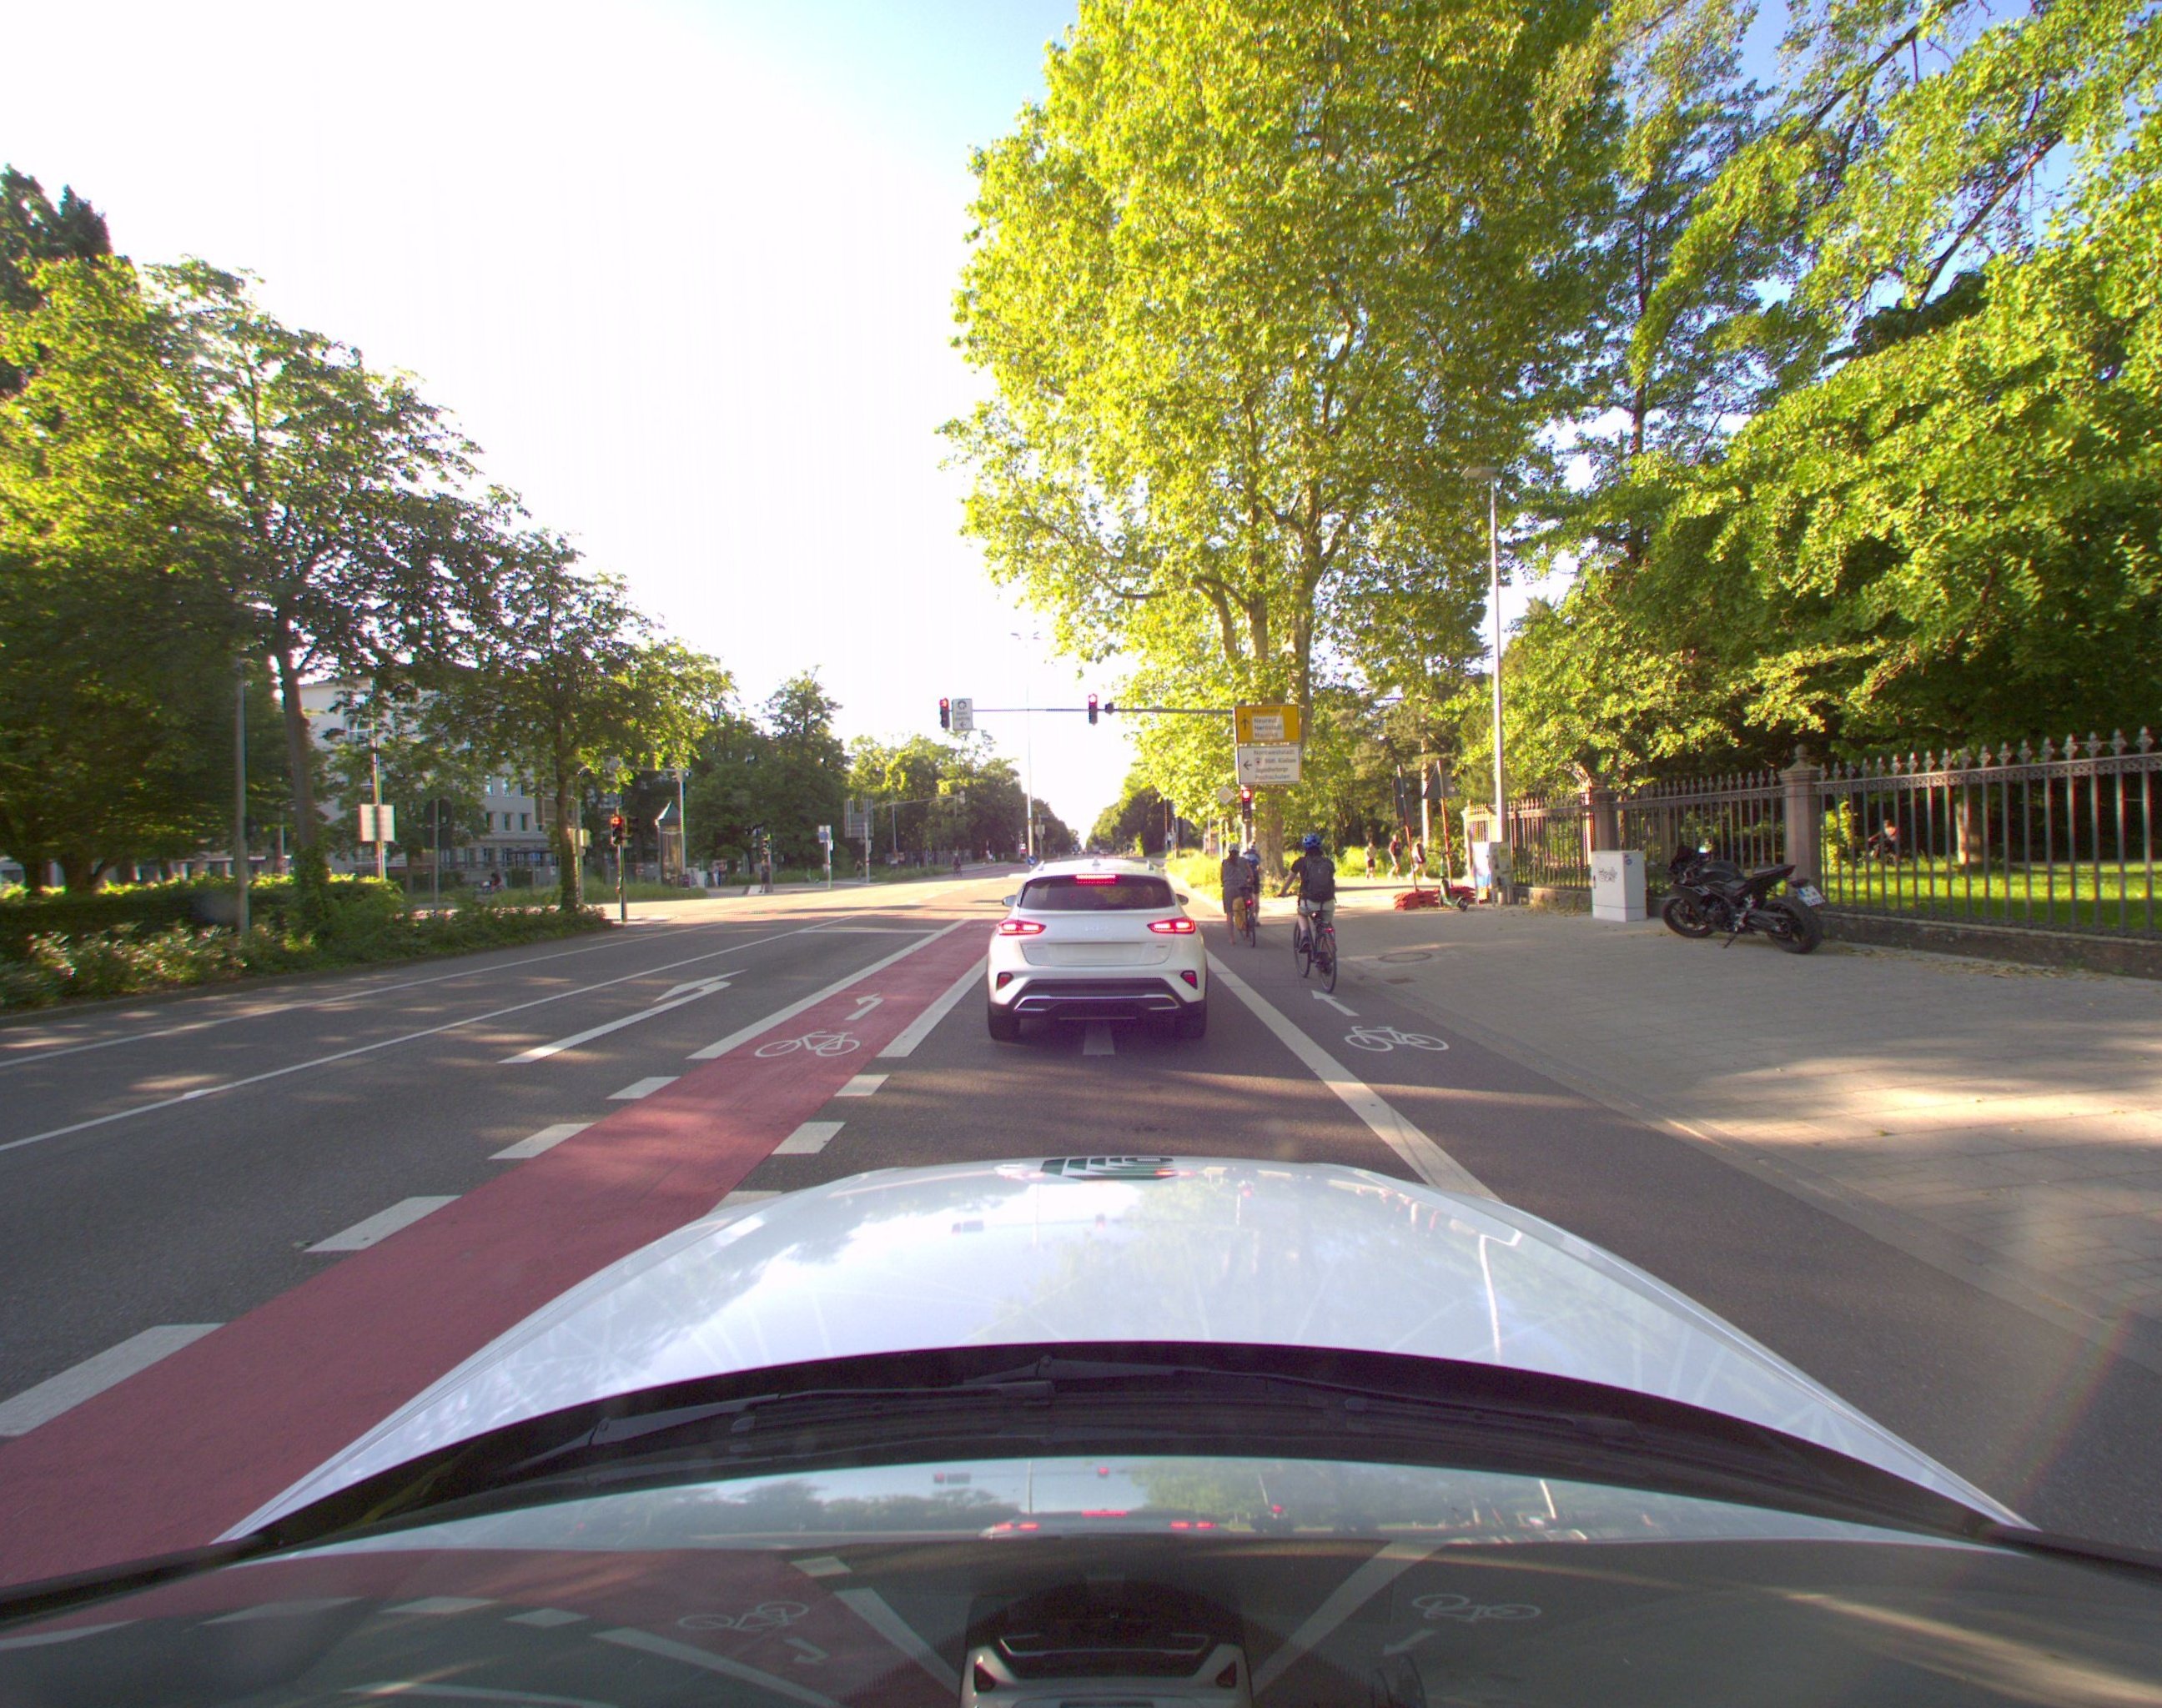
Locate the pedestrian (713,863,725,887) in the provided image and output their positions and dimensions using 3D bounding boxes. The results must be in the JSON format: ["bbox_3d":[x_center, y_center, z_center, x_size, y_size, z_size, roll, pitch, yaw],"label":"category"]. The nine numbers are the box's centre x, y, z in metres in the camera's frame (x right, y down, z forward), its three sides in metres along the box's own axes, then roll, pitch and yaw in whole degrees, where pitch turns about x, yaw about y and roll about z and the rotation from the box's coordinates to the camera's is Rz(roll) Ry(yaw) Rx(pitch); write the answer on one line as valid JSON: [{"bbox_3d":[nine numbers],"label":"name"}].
[{"bbox_3d":[-24.169,1.411,54.359,0.628,1.580,0.444,-1,-1,-8],"label":"pedestrian"}]

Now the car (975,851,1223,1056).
[{"bbox_3d":[0.154,0.732,8.048,1.815,1.480,3.936,-1,0,0],"label":"car"}]

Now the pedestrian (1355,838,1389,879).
[{"bbox_3d":[11.200,0.170,31.396,0.822,1.518,0.909,-1,-1,-23],"label":"pedestrian"}]

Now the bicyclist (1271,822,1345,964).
[{"bbox_3d":[2.648,0.440,9.575,0.663,1.602,0.721,-1,0,0],"label":"bicyclist"}]

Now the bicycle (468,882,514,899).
[{"bbox_3d":[-39.714,2.459,54.837,2.695,0.989,0.581,-3,0,2],"label":"bicycle"}]

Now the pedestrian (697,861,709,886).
[{"bbox_3d":[-25.462,1.328,54.826,0.628,1.642,0.444,-1,-1,-8],"label":"pedestrian"}]

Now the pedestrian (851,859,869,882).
[{"bbox_3d":[-16.564,1.238,61.122,1.086,1.603,0.999,-3,0,-5],"label":"pedestrian"}]

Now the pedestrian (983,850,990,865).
[{"bbox_3d":[-12.278,0.452,105.332,0.636,2.014,0.756,-1,-1,15],"label":"pedestrian"}]

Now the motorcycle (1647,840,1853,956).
[{"bbox_3d":[7.462,0.443,9.252,0.504,1.131,2.170,-4,0,0],"label":"motorcycle"}]

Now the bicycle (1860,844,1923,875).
[{"bbox_3d":[27.804,0.189,27.941,1.609,1.015,0.475,-1,-1,4],"label":"bicycle"}]

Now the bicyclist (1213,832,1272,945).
[{"bbox_3d":[2.661,0.547,13.508,0.750,1.795,1.165,0,0,0],"label":"bicyclist"}]

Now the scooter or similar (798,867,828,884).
[{"bbox_3d":[-18.759,1.485,57.100,0.703,1.124,1.933,-1,0,34],"label":"scooter or similar"}]

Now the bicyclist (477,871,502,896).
[{"bbox_3d":[-39.810,1.967,54.838,0.971,1.606,0.878,-3,0,2],"label":"bicyclist"}]

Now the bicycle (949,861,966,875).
[{"bbox_3d":[-9.280,1.030,61.235,0.660,0.989,2.507,-3,0,4],"label":"bicycle"}]

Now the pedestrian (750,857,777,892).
[{"bbox_3d":[-18.636,1.212,47.804,0.990,2.014,1.193,-1,-1,7],"label":"pedestrian"}]

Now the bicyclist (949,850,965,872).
[{"bbox_3d":[-9.299,0.538,61.310,0.871,1.608,1.189,-3,0,4],"label":"bicyclist"}]

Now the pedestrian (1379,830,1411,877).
[{"bbox_3d":[12.246,-0.015,31.735,0.816,1.771,0.831,-3,0,-5],"label":"pedestrian"}]

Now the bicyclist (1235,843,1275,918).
[{"bbox_3d":[3.557,0.535,16.697,0.552,1.478,0.717,-5,-1,0],"label":"bicyclist"}]

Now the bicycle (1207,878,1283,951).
[{"bbox_3d":[2.659,0.943,13.506,0.755,1.013,2.569,0,0,0],"label":"bicycle"}]

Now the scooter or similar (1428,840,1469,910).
[{"bbox_3d":[7.251,0.391,16.113,0.227,1.327,1.172,-3,0,0],"label":"scooter or similar"}]

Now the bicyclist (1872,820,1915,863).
[{"bbox_3d":[27.880,-0.430,27.945,0.778,1.431,0.667,-1,-1,5],"label":"bicyclist"}]

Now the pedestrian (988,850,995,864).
[{"bbox_3d":[-11.405,0.391,104.112,0.782,1.785,0.751,-1,-1,2],"label":"pedestrian"}]

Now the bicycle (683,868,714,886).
[{"bbox_3d":[-25.886,1.565,55.086,1.859,1.148,0.442,-1,-1,-6],"label":"bicycle"}]

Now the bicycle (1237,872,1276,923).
[{"bbox_3d":[3.590,0.868,16.710,0.400,0.956,1.551,-5,0,0],"label":"bicycle"}]

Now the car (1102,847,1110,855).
[{"bbox_3d":[6.395,-0.829,211.651,1.986,2.013,4.002,-3,0,2],"label":"car"}]

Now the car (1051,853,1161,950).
[{"bbox_3d":[0.414,0.767,14.955,1.723,1.483,3.516,-3,0,0],"label":"car"}]

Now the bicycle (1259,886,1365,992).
[{"bbox_3d":[2.654,0.931,9.586,0.666,1.009,2.081,-1,0,0],"label":"bicycle"}]

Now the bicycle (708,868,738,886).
[{"bbox_3d":[-24.078,1.567,54.772,1.859,1.148,0.290,-1,-1,-6],"label":"bicycle"}]

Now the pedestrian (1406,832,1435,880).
[{"bbox_3d":[12.461,0.078,29.928,0.688,1.699,0.643,-3,0,-5],"label":"pedestrian"}]
